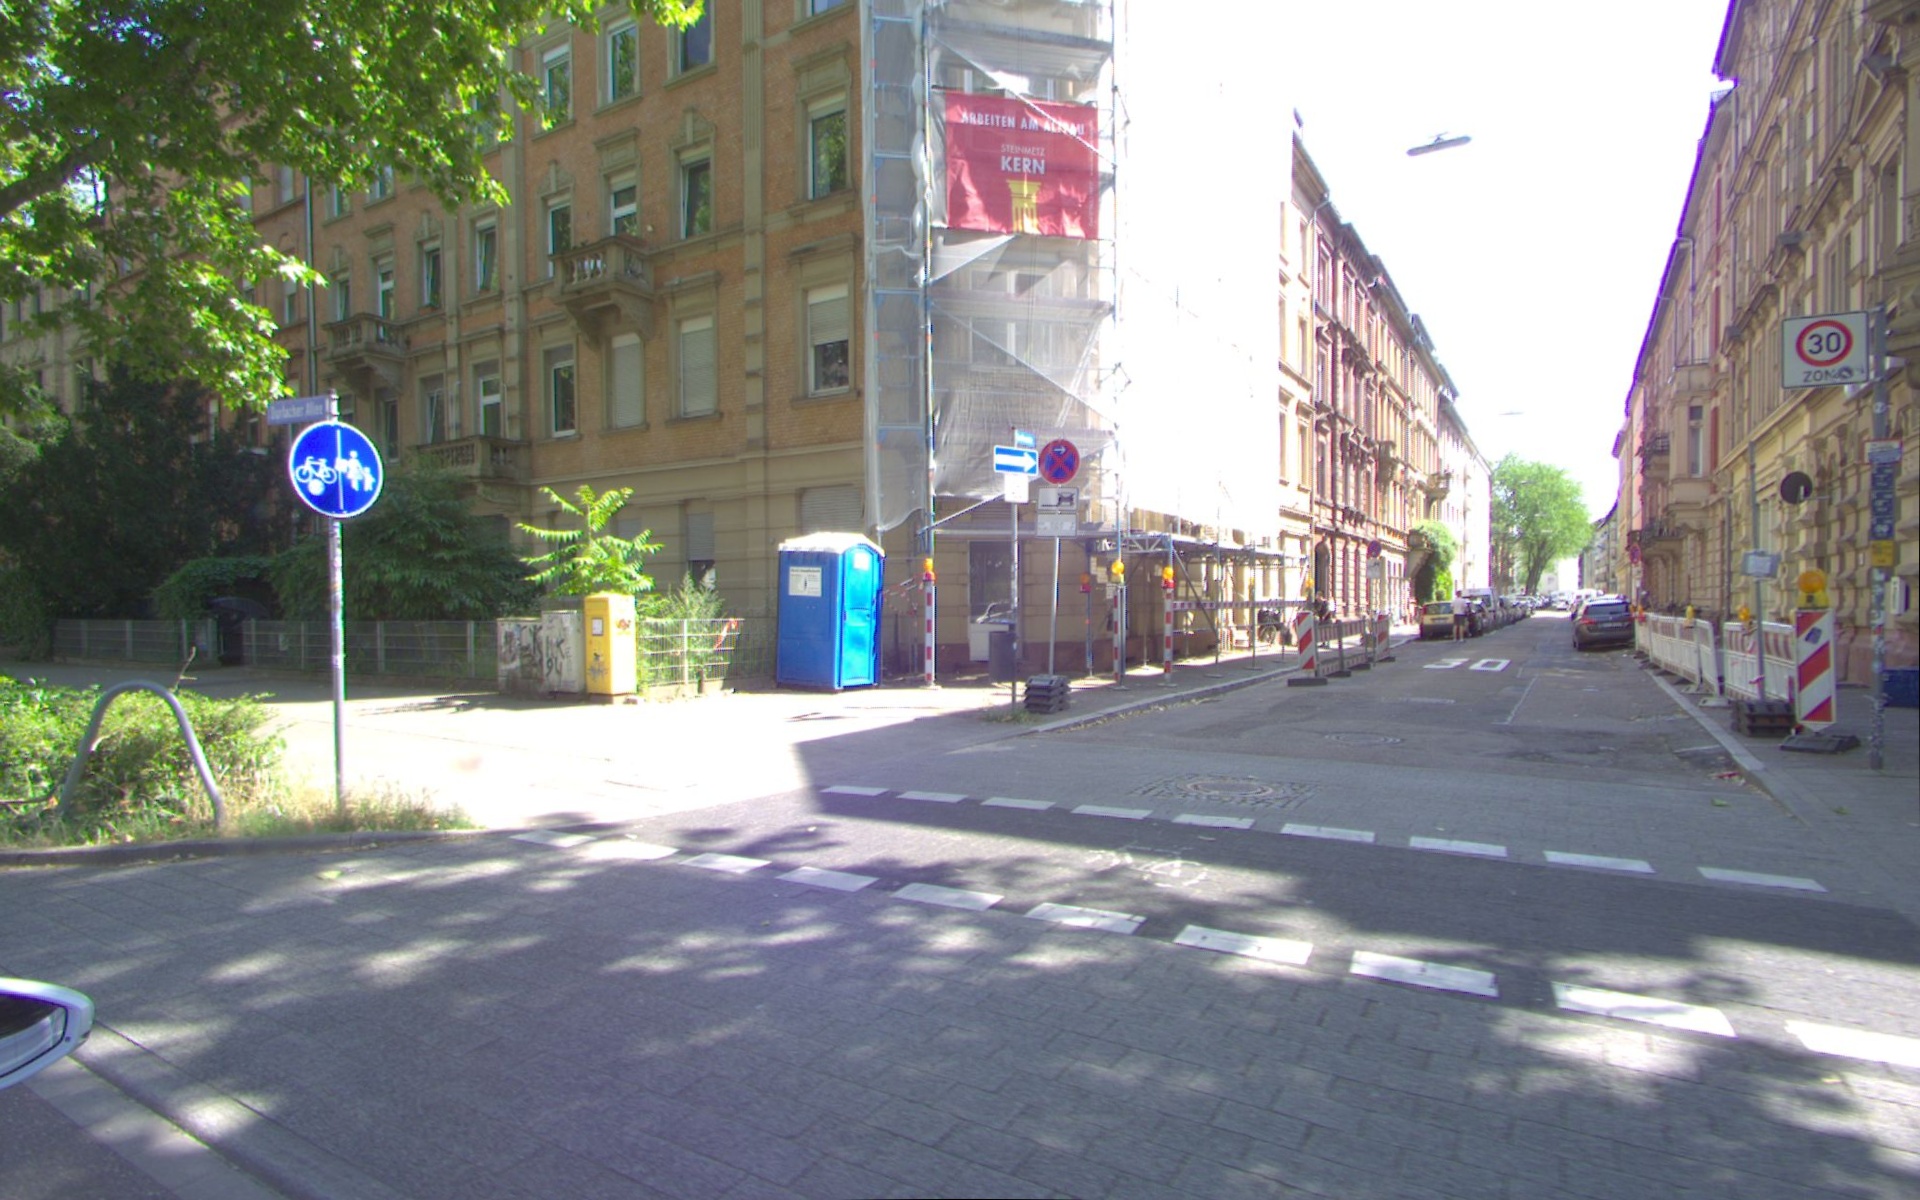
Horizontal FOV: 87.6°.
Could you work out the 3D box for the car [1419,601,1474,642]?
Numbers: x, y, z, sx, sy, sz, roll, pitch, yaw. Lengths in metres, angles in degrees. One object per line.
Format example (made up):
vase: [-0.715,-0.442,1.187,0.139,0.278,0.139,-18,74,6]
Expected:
car: [19.419,0.828,39.929,1.702,1.549,3.478,0,0,30]

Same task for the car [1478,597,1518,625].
car: [34.106,0.669,63.460,1.886,1.732,4.139,0,0,33]

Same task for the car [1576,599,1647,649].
car: [22.829,0.790,35.216,1.971,1.662,3.979,0,0,31]

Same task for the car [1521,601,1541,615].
car: [58.080,0.830,101.775,1.646,1.420,3.343,0,0,32]

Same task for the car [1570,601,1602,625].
car: [47.166,0.934,75.520,1.971,1.762,3.979,0,0,31]

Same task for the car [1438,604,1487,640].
car: [22.381,0.952,44.554,1.702,1.549,3.478,0,0,30]

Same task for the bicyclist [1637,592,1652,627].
bicyclist: [28.815,0.392,42.146,0.526,1.473,0.458,0,1,35]

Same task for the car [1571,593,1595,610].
car: [63.171,0.158,101.541,1.971,1.762,3.979,0,0,31]

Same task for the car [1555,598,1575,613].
car: [69.580,0.630,115.151,1.971,1.762,3.979,0,0,31]

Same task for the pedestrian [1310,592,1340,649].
pedestrian: [11.504,0.637,31.571,0.843,1.748,0.834,0,0,19]

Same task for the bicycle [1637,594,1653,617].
bicycle: [28.775,0.229,42.079,0.531,0.991,1.301,0,0,35]

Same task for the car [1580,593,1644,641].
car: [25.497,0.628,39.251,1.971,1.762,3.979,0,0,31]

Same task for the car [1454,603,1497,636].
car: [25.557,0.941,49.607,1.702,1.549,3.478,0,0,30]

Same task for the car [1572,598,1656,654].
car: [19.499,0.722,29.995,1.971,1.572,3.979,0,0,31]

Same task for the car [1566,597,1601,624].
car: [42.816,0.701,68.841,1.971,1.762,3.979,0,0,31]

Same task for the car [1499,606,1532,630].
car: [42.132,1.359,75.904,1.886,1.732,4.139,0,0,33]

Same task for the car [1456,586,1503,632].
car: [28.048,0.475,53.999,1.886,2.405,4.224,0,0,33]

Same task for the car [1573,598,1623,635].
car: [31.552,0.796,49.592,1.971,1.762,3.979,0,0,31]

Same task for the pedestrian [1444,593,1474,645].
pedestrian: [17.939,0.668,35.995,0.922,1.822,1.034,0,0,29]
